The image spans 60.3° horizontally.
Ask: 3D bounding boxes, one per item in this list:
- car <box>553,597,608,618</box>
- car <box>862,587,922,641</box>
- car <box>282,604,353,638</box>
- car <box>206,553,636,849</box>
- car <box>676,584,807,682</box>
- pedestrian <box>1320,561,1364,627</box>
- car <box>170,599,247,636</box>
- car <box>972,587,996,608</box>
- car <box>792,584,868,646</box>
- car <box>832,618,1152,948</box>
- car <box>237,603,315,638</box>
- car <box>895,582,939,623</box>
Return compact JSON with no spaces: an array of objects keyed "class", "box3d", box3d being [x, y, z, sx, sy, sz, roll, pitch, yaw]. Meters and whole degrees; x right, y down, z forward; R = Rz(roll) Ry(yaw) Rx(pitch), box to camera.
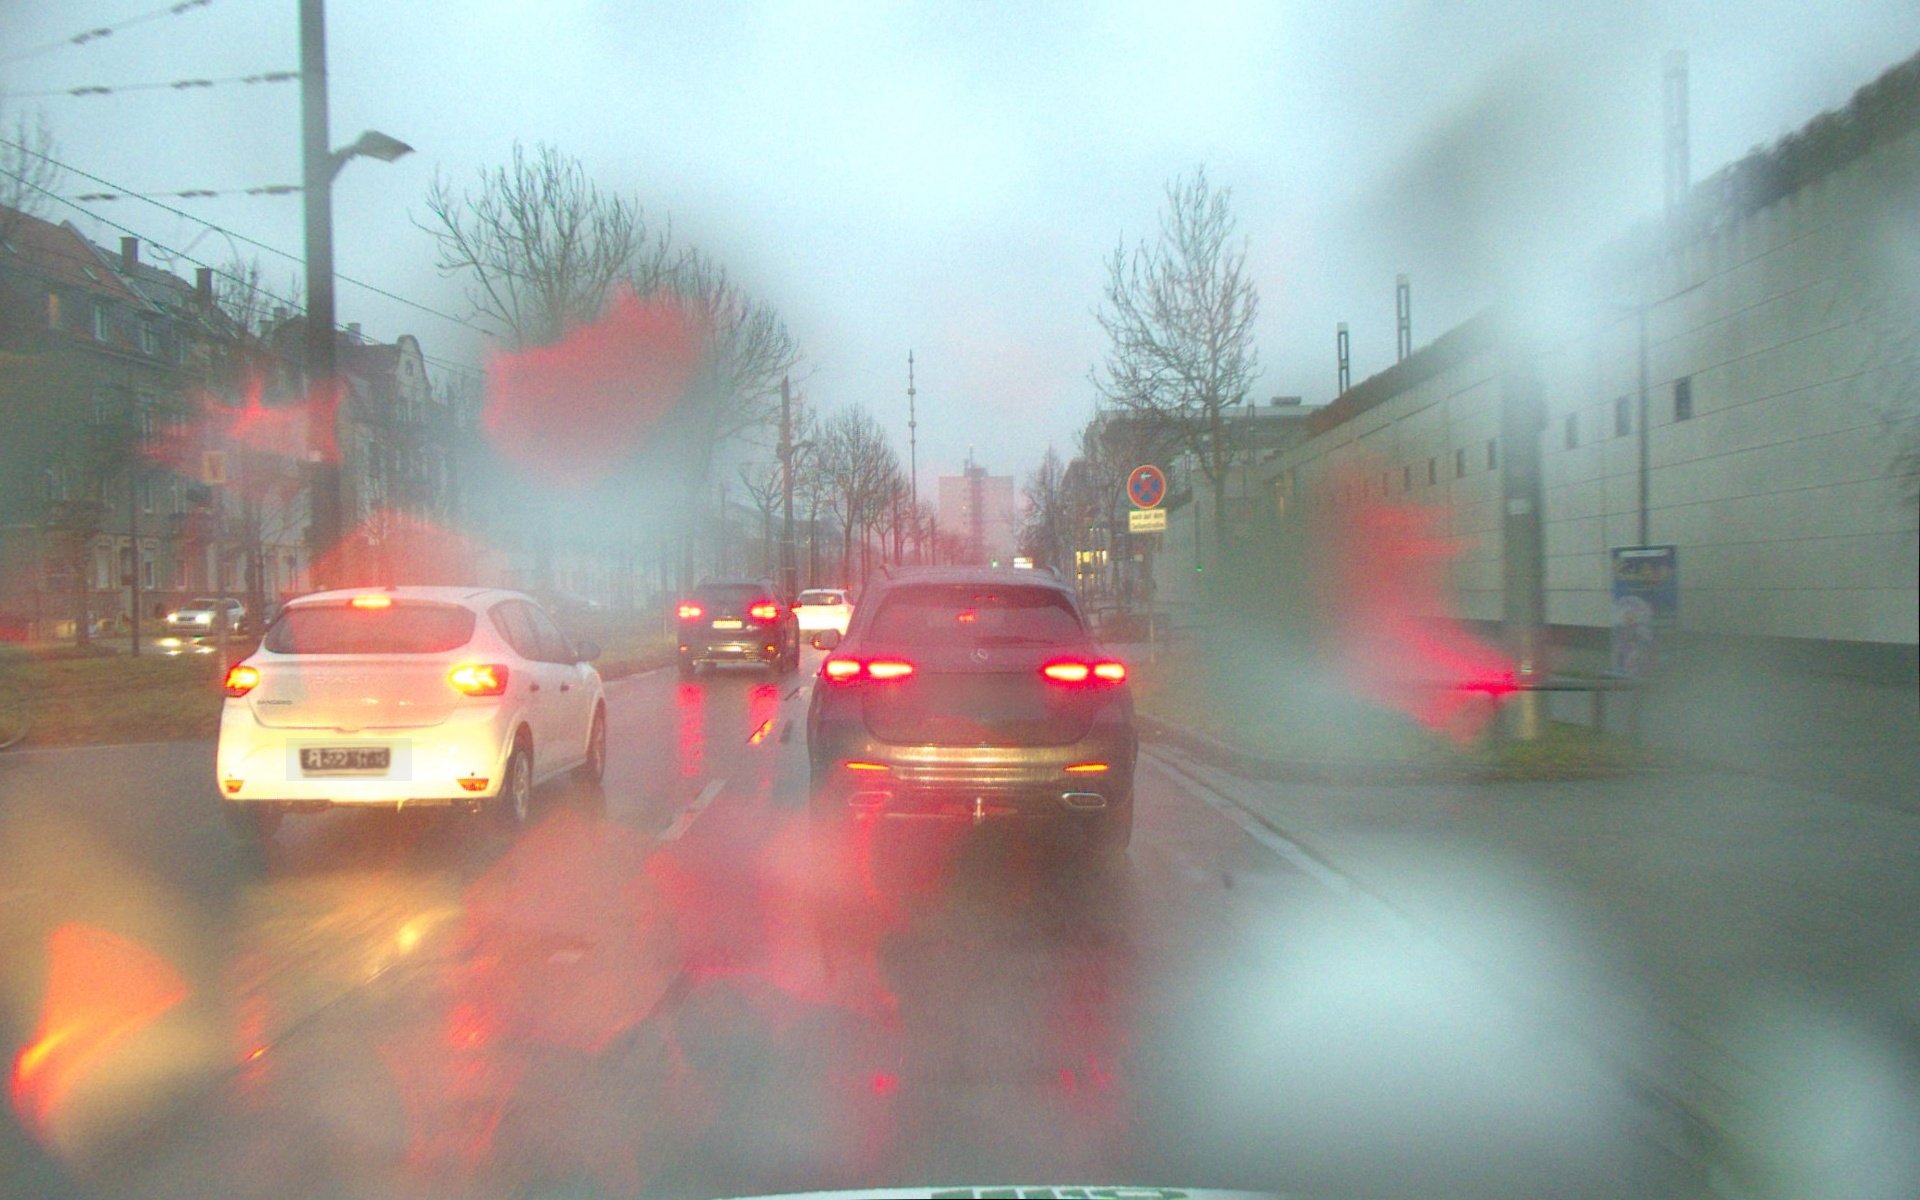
[{"class":"car","box3d":[-25.924,0.507,112.856,3.485,1.377,1.775,-1,1,36]},{"class":"car","box3d":[-2.638,0.551,65.298,1.952,2.049,4.001,1,0,3]},{"class":"car","box3d":[-29.096,0.930,74.990,1.739,1.377,3.557,-2,1,1]},{"class":"car","box3d":[-3.374,0.550,11.165,1.638,1.628,4.052,0,0,-1]},{"class":"car","box3d":[-3.830,0.541,29.590,1.637,1.628,4.055,0,0,2]},{"class":"pedestrian","box3d":[9.846,-0.152,42.657,0.918,1.646,0.694,-2,0,-1]},{"class":"car","box3d":[-33.455,0.754,73.718,1.739,1.526,3.557,-2,1,1]},{"class":"car","box3d":[2.044,-0.214,140.873,1.952,1.759,4.001,-1,0,1]},{"class":"car","box3d":[-3.575,0.391,46.027,1.637,1.628,4.055,0,0,2]},{"class":"car","box3d":[0.244,0.962,10.521,1.637,1.628,4.055,0,0,2]},{"class":"car","box3d":[-29.205,0.868,70.702,1.739,1.377,3.557,-2,1,1]},{"class":"car","box3d":[-2.202,0.156,86.474,1.952,2.049,4.001,1,0,3]}]
